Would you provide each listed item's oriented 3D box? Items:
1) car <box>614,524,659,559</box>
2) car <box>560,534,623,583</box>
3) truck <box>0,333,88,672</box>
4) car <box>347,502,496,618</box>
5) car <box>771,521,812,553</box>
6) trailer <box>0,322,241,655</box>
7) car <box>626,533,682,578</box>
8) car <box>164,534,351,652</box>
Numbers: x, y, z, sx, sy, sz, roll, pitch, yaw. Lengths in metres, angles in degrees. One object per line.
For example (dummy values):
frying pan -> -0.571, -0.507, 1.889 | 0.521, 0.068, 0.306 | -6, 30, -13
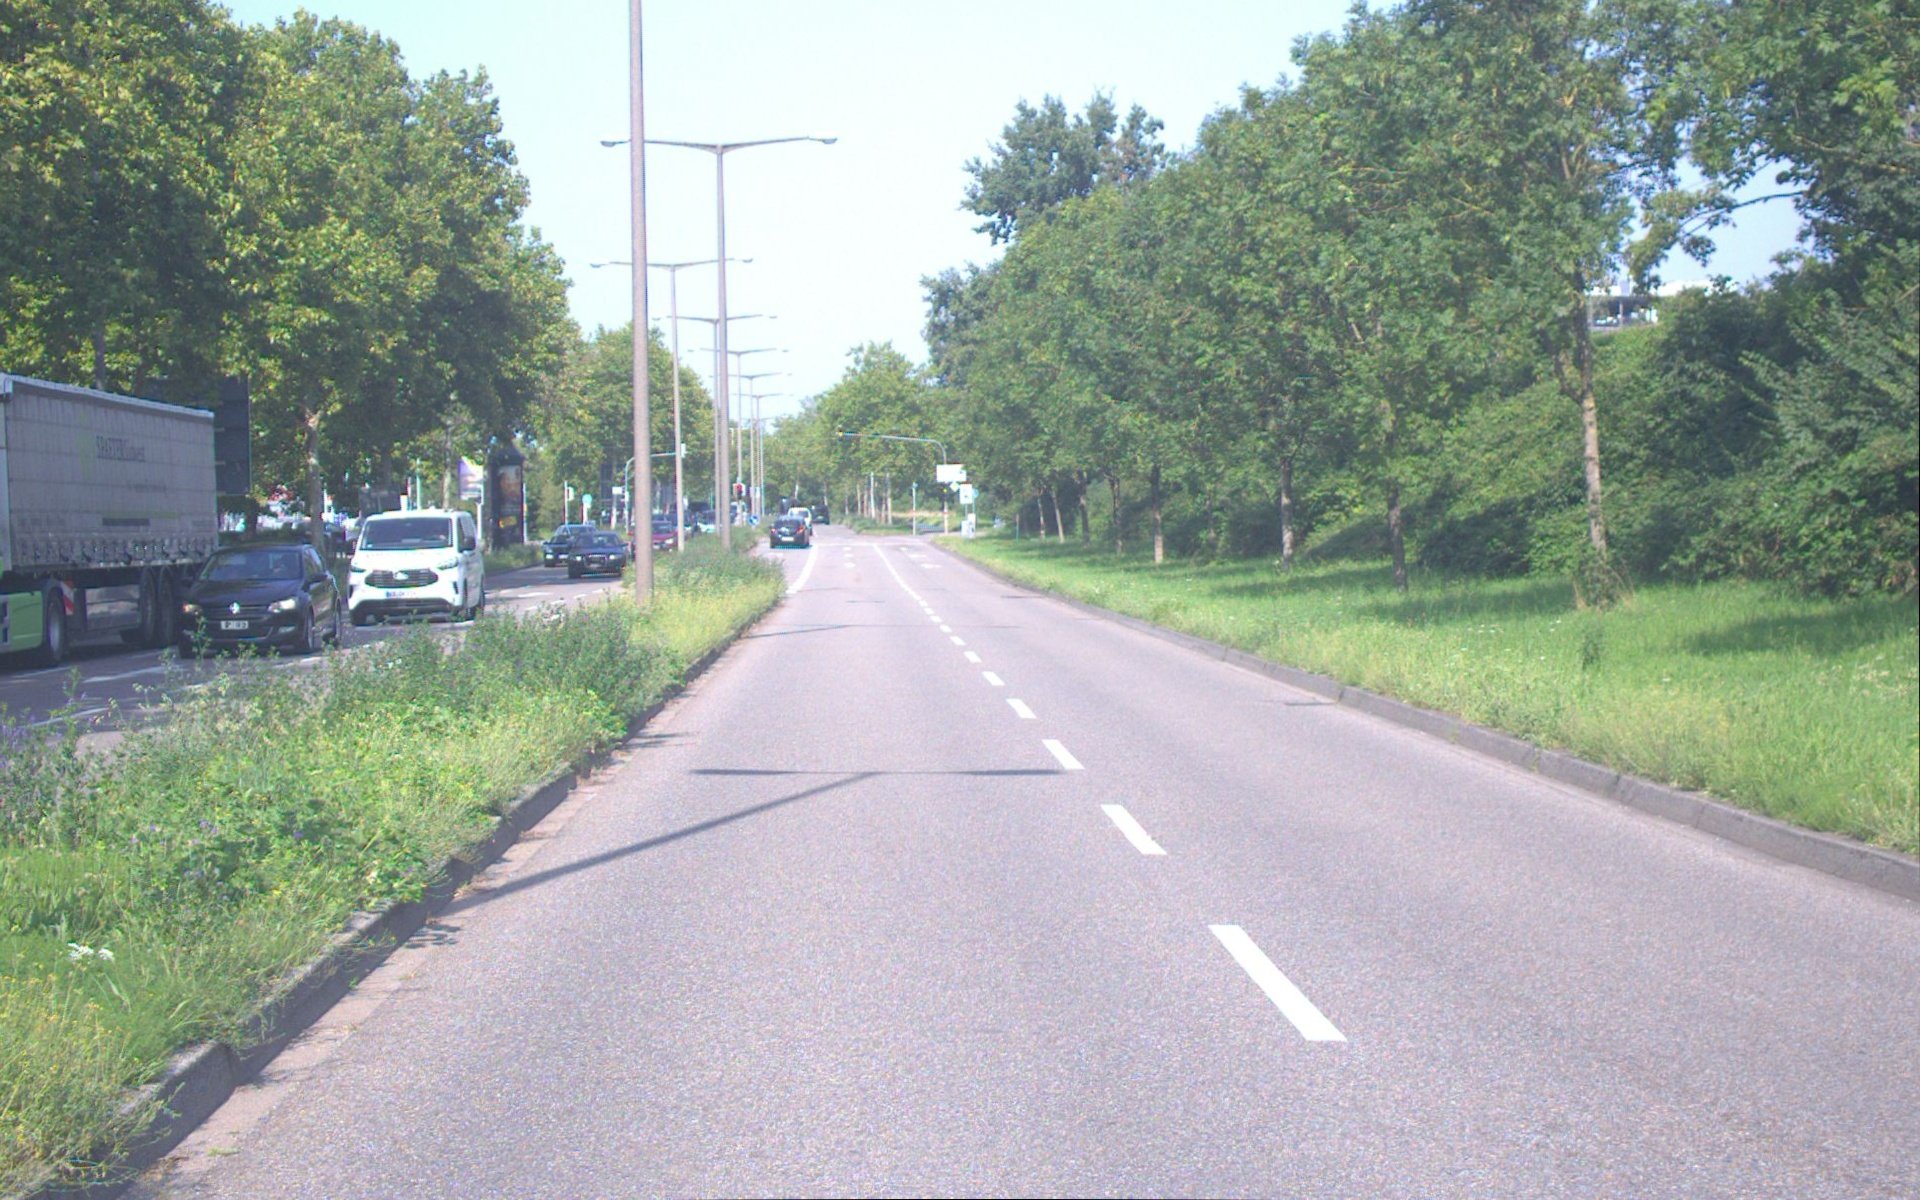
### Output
car -> -16.651, -3.041, 177.173 | 1.993, 1.753, 4.478 | -1, 1, -2
car -> -11.866, -1.359, 110.855 | 1.746, 1.474, 4.587 | -3, 1, -3
truck -> -12.092, -1.076, 39.611 | 2.607, 3.806, 5.892 | -2, 1, -2
car -> -9.438, -0.729, 60.605 | 1.993, 1.947, 5.037 | -1, 1, -2
car -> -8.166, -3.056, 166.459 | 1.692, 1.480, 4.000 | -1, 1, 1
trailer -> -12.318, -1.353, 46.347 | 2.633, 3.808, 13.813 | -2, 1, -2
car -> -12.127, -1.794, 136.493 | 1.954, 1.718, 4.587 | -1, 1, -2
car -> -9.070, -0.124, 44.635 | 1.614, 1.394, 3.858 | -2, 1, -1
